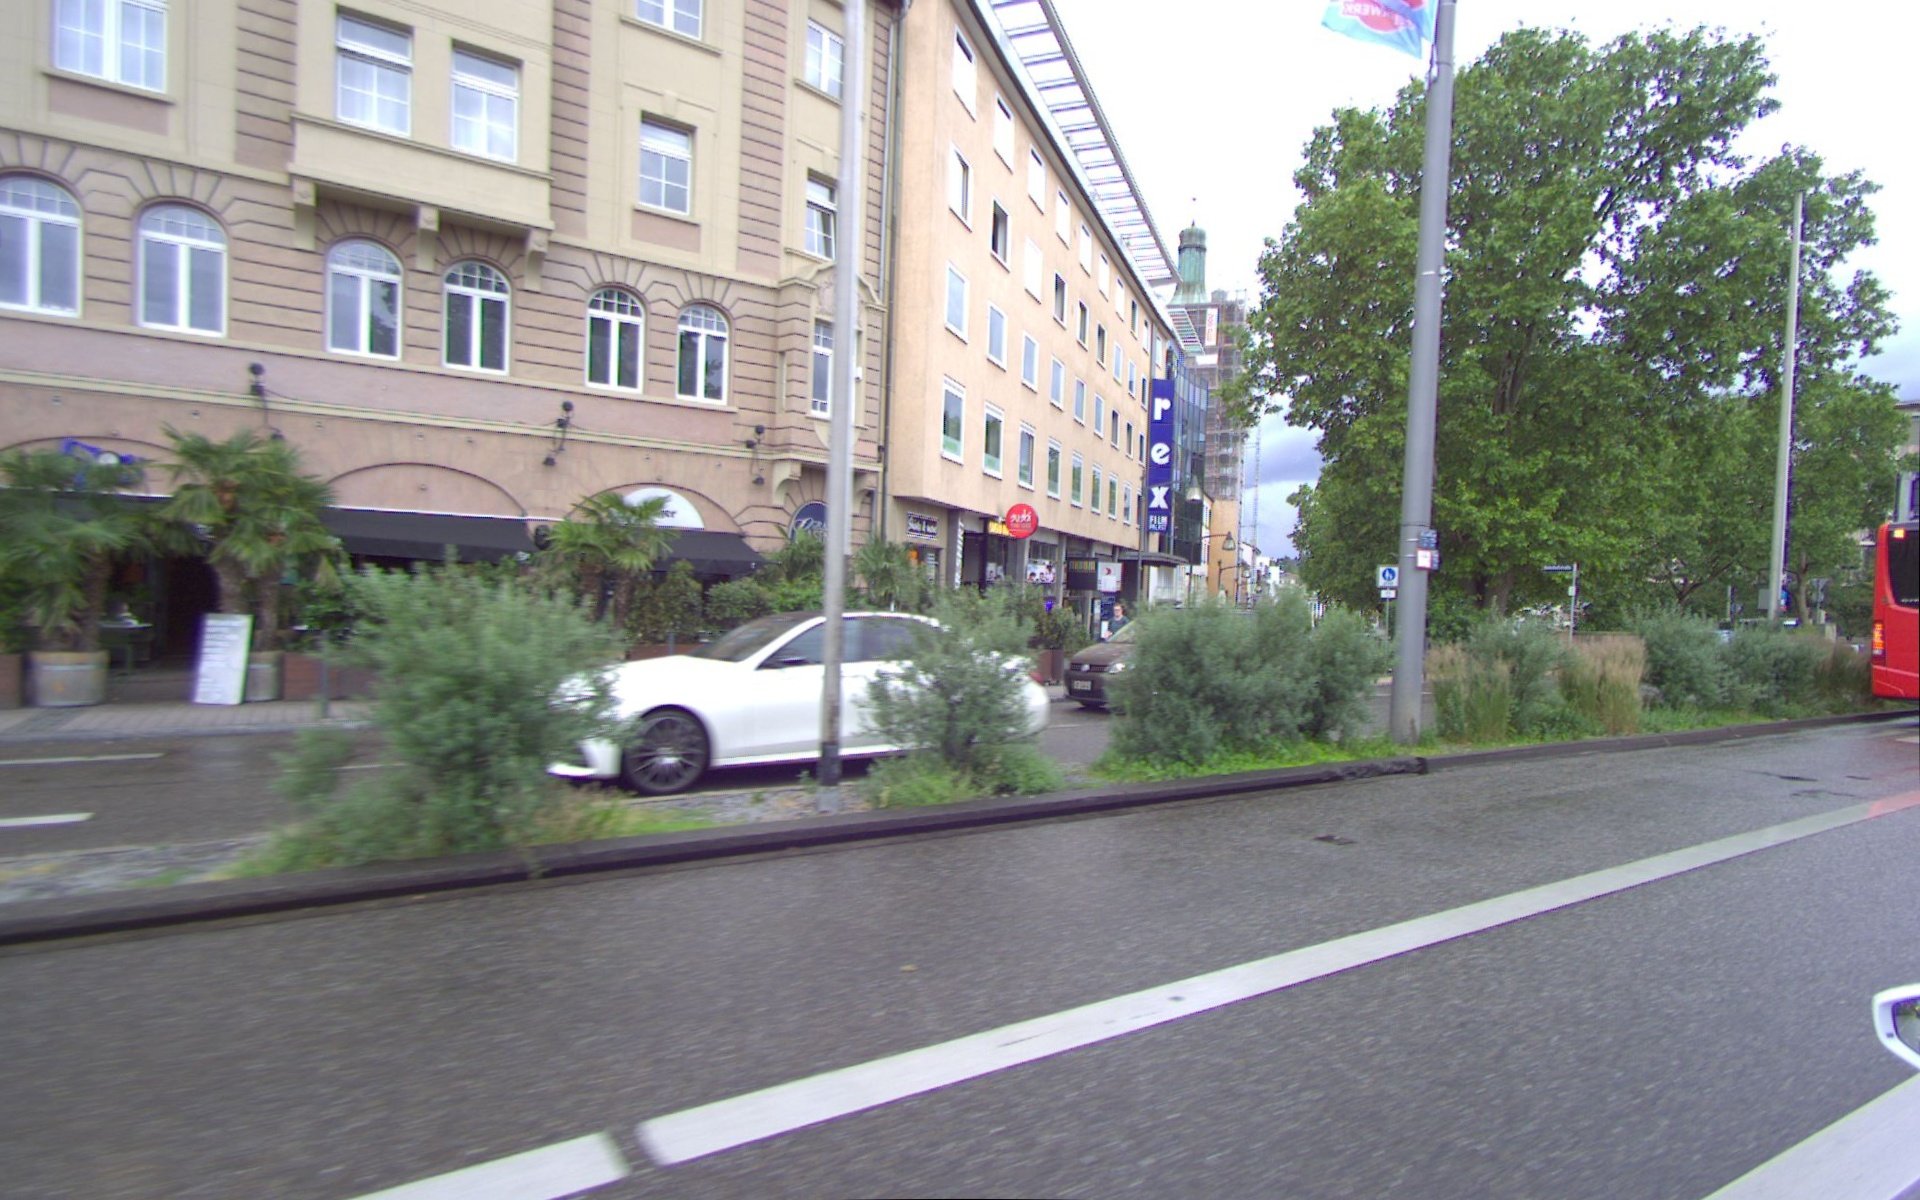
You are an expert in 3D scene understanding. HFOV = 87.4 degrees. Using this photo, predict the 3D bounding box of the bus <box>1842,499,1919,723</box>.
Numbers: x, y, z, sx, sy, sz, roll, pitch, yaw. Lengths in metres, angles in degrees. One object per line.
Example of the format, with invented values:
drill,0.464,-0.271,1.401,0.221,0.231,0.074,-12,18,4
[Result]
bus,18.561,0.279,16.892,9.800,3.289,2.795,1,0,-31

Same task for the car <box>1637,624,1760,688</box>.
car,20.370,1.501,27.649,4.113,1.600,1.776,2,-1,-39

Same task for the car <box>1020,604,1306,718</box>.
car,3.372,0.920,16.279,4.691,1.600,1.780,2,-1,-34

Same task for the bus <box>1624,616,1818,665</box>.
bus,51.675,2.856,68.923,2.837,3.058,11.958,2,-3,-9

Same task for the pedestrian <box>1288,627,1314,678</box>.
pedestrian,14.174,2.174,41.757,0.909,2.040,0.965,1,0,14

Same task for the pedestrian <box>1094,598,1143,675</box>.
pedestrian,3.234,0.735,20.509,0.722,1.550,0.683,1,-1,-43

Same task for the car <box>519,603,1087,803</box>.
car,-1.276,0.800,9.325,4.933,1.425,1.780,2,-1,-34
